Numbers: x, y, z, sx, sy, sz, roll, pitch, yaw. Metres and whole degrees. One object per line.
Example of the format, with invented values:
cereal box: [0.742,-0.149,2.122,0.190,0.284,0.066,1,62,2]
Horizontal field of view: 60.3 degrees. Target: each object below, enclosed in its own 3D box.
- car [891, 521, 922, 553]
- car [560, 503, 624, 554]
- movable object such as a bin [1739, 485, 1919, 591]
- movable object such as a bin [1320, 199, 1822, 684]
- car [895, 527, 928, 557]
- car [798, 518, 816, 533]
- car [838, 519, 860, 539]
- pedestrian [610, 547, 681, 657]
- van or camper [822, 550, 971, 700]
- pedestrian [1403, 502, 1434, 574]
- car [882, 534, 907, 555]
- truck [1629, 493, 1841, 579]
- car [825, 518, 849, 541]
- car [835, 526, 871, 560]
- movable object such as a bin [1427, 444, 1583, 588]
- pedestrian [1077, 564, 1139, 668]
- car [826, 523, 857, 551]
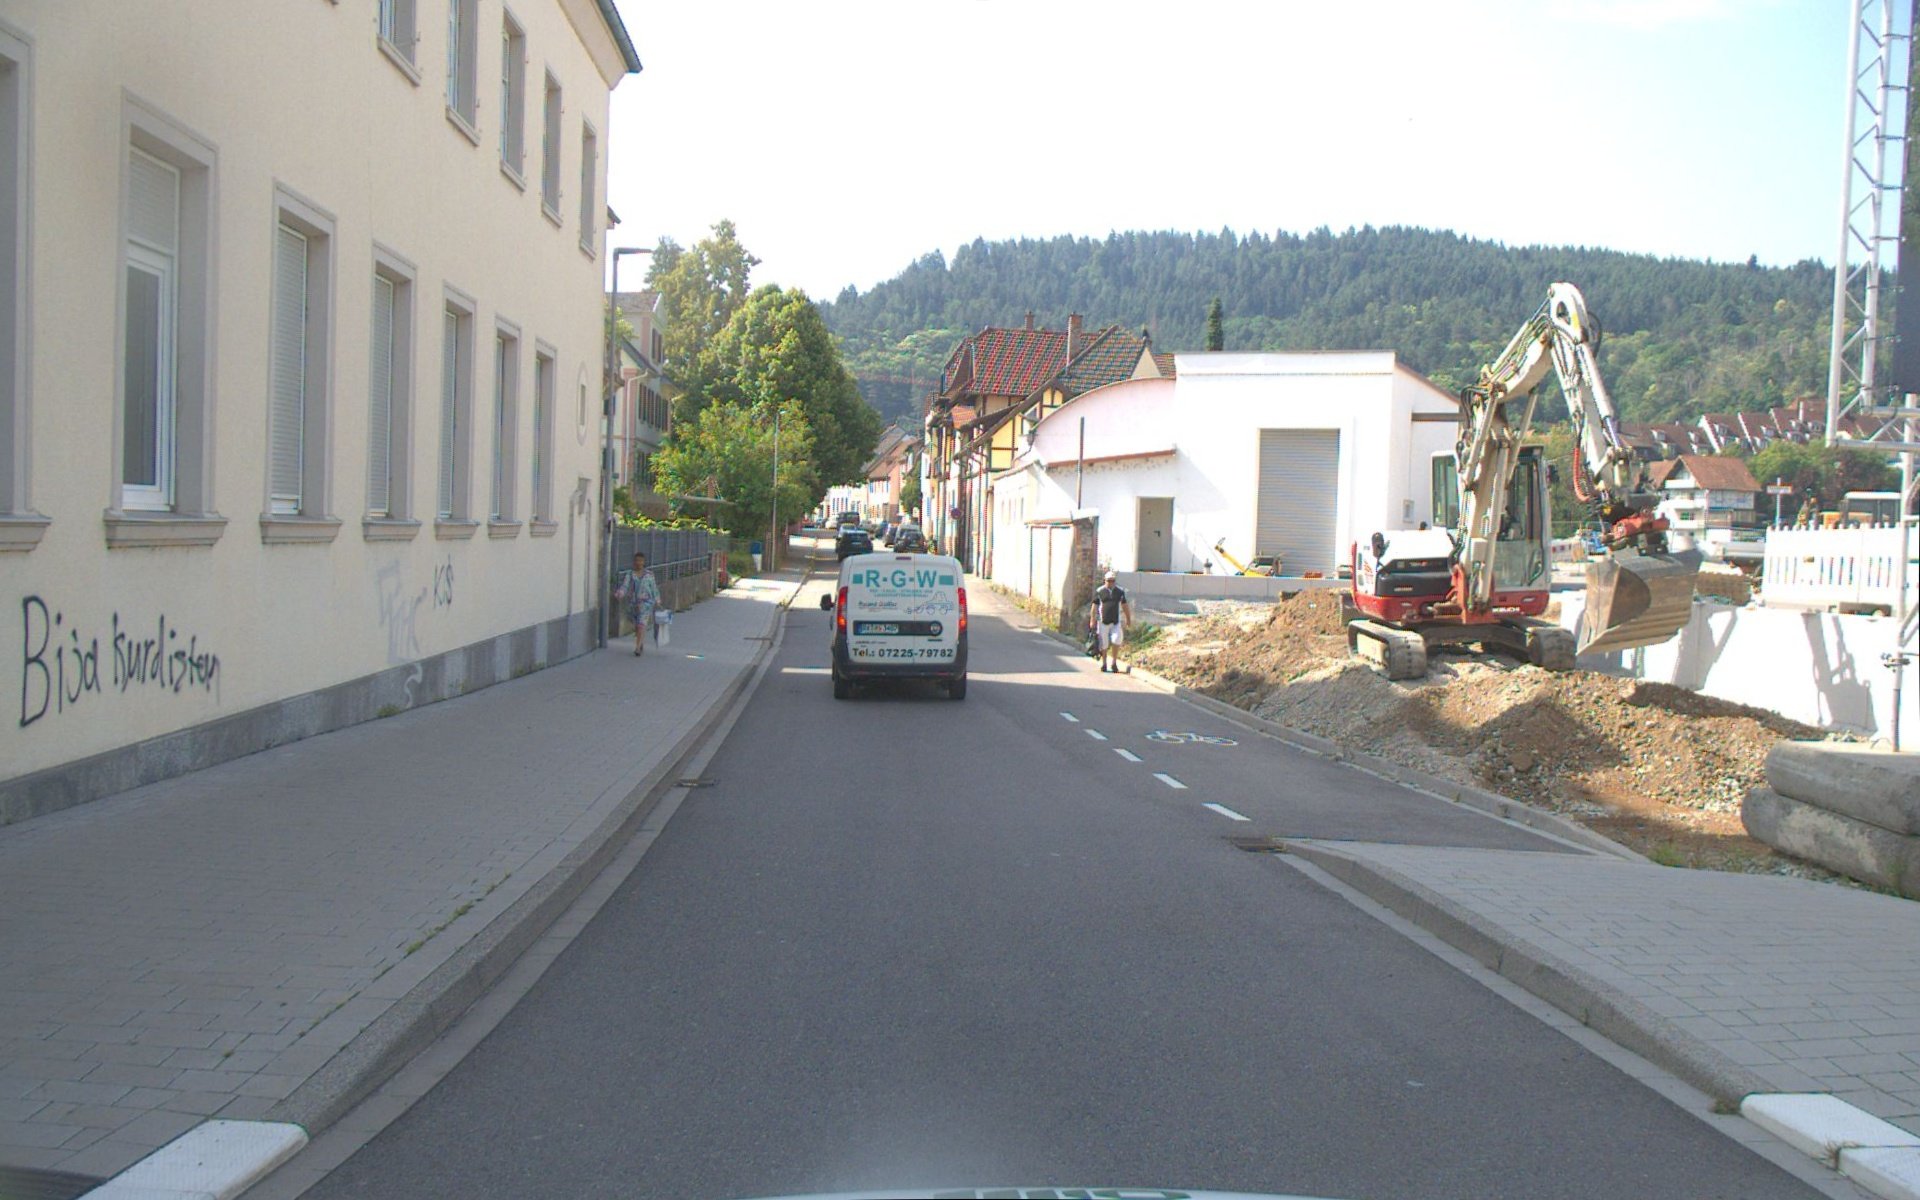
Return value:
car: [-3.649,-4.266,111.406,1.835,2.048,3.998,3,3,-5]
car: [-14.495,-2.849,65.402,1.788,1.802,4.678,5,2,-6]
movable object such as a bin: [22.496,-1.576,42.284,4.518,2.614,1.925,1,2,22]
movable object such as a bin: [6.005,-1.460,17.865,2.248,3.919,7.800,4,2,0]
car: [-2.987,-3.550,101.283,1.775,1.623,3.925,4,3,-4]
car: [-20.430,-9.914,220.580,1.742,1.829,3.985,1,3,-15]
car: [-9.999,-6.403,149.138,1.775,1.623,3.925,4,3,-4]
pedestrian: [-4.958,0.019,26.110,0.939,1.659,0.757,3,1,-4]
van or camper: [-0.961,0.292,22.783,1.793,1.876,4.183,0,1,-6]
pedestrian: [12.675,-1.720,45.738,0.620,1.929,0.608,5,3,12]
car: [-5.066,-4.332,127.787,1.637,1.534,3.996,1,3,-6]
truck: [21.552,-1.800,46.295,5.206,2.305,2.219,1,2,22]
car: [-15.423,-8.870,207.702,2.819,2.884,6.118,1,3,-6]
car: [-5.795,-3.085,89.213,1.776,1.623,3.924,4,3,-5]
movable object such as a bin: [15.527,-2.300,46.861,2.799,3.683,5.724,6,3,30]
pedestrian: [2.549,0.270,28.541,0.871,1.712,0.718,3,1,-4]
car: [-7.707,-4.086,106.978,1.776,1.623,3.923,4,3,-6]
